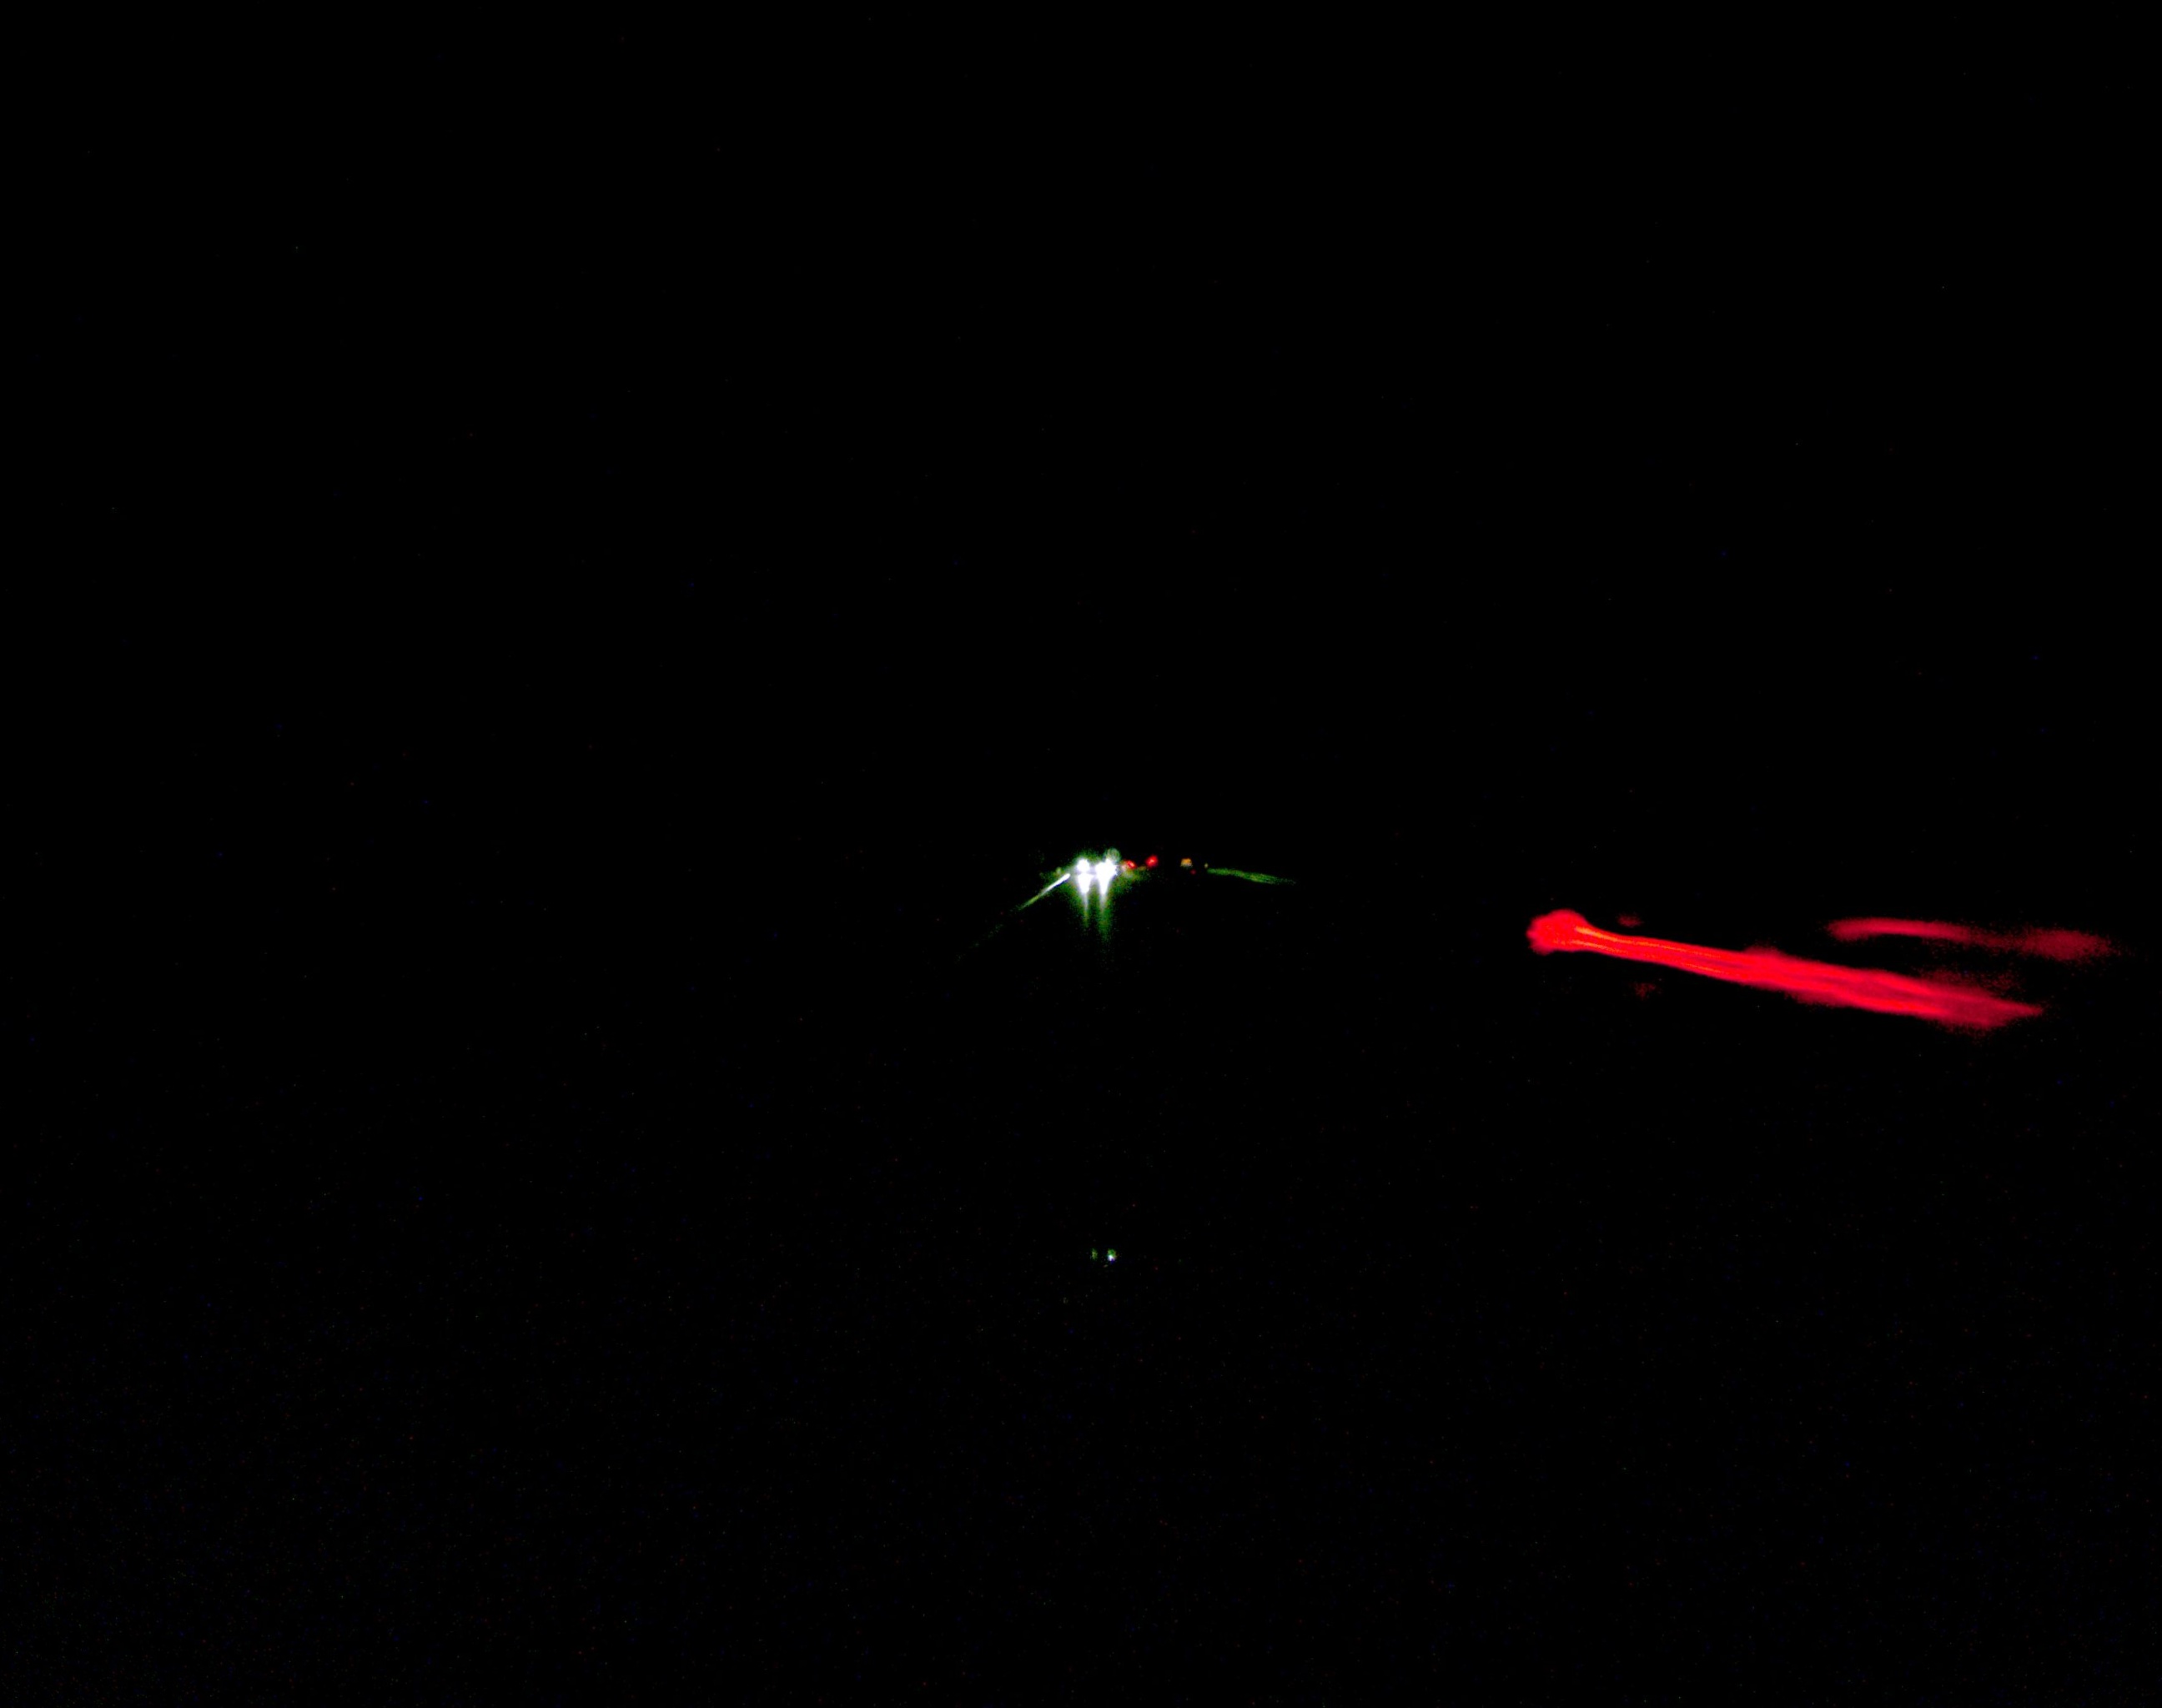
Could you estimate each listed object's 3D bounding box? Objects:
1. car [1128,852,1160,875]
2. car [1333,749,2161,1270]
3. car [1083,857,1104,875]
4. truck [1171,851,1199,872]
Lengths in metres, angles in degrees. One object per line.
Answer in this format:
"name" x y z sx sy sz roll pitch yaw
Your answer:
"car" 4.558 0.658 55.209 1.999 1.475 3.216 -3 1 -1
"car" 3.333 0.505 4.752 1.999 1.740 4.257 -3 1 -1
"car" 1.159 1.089 68.607 1.807 1.452 4.276 -3 0 1
"truck" 15.385 1.015 113.297 2.933 2.819 10.465 -3 1 2
